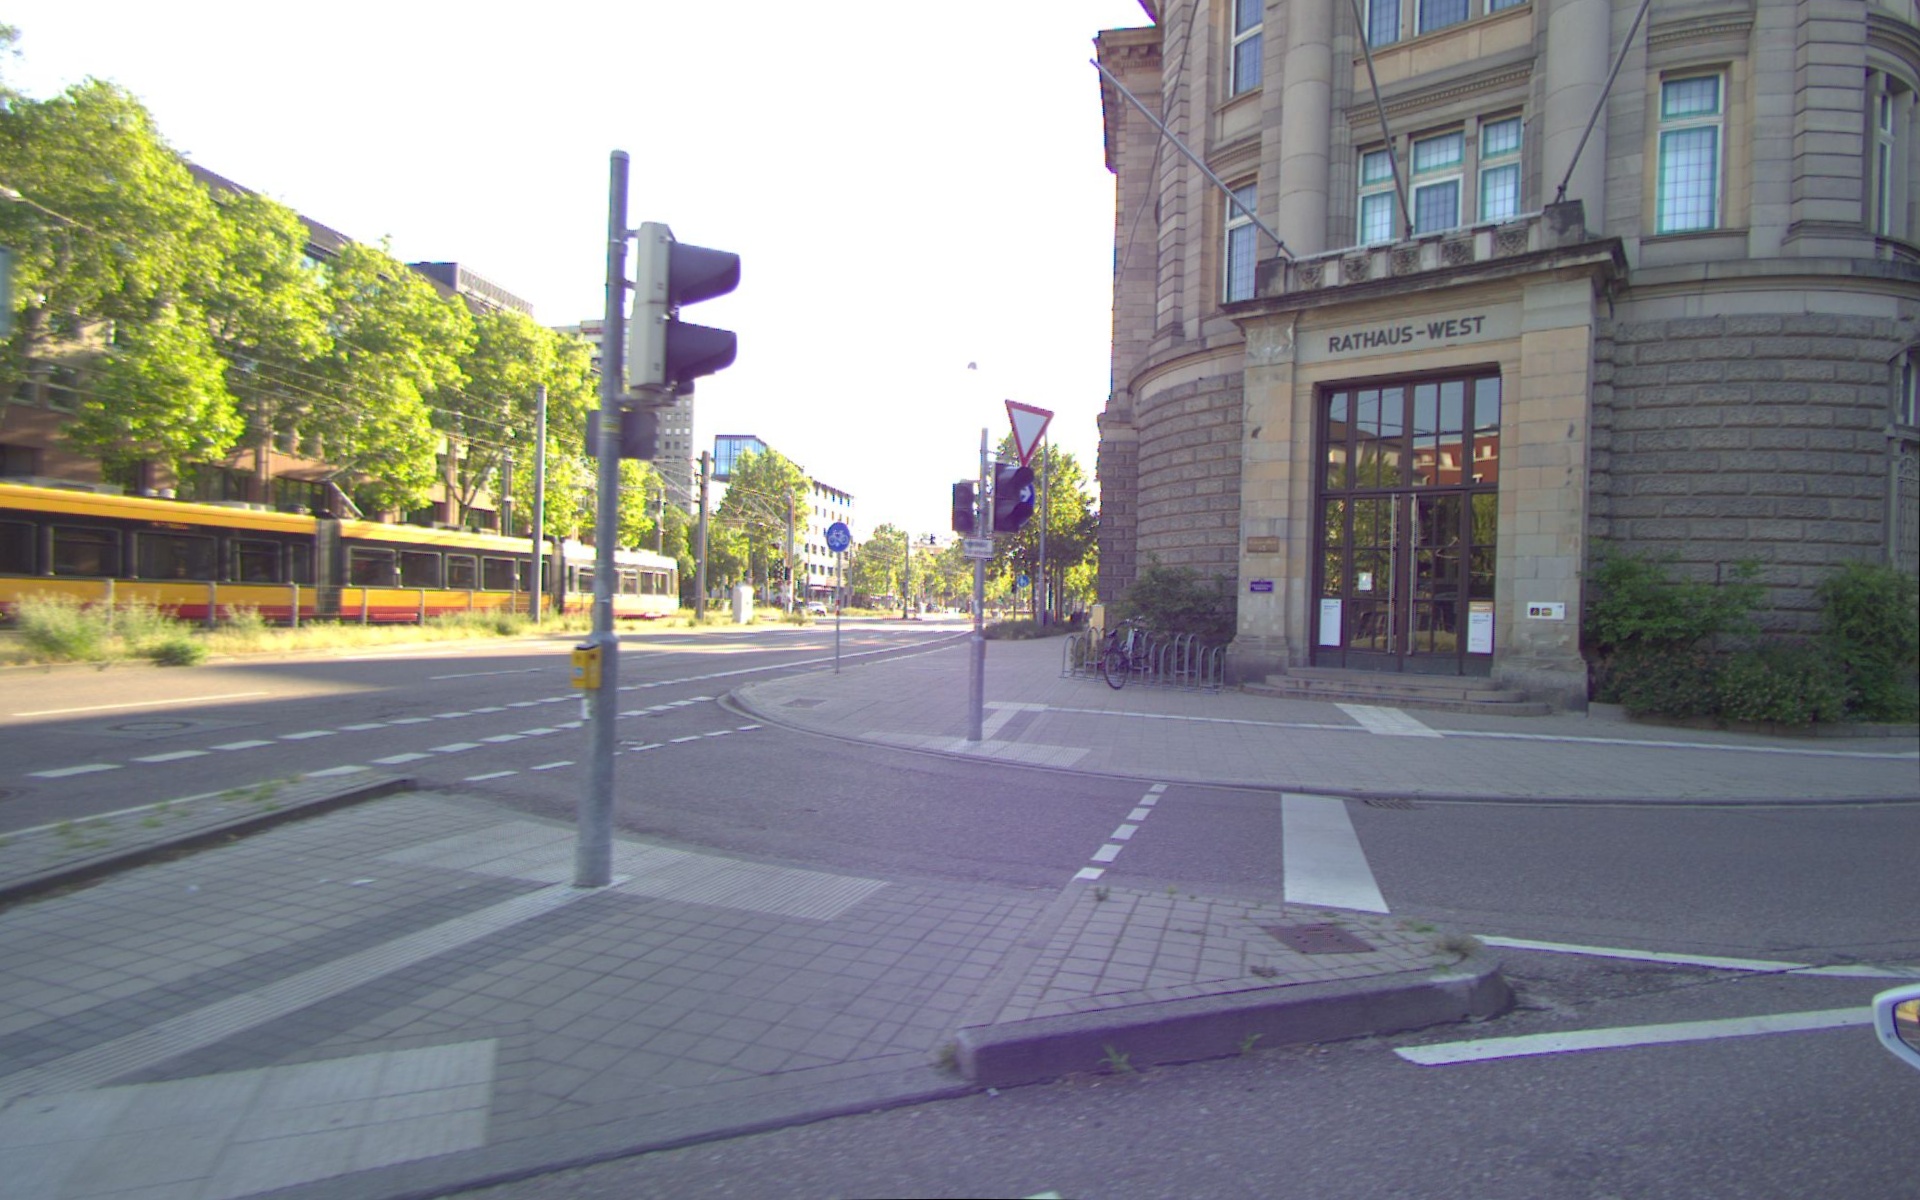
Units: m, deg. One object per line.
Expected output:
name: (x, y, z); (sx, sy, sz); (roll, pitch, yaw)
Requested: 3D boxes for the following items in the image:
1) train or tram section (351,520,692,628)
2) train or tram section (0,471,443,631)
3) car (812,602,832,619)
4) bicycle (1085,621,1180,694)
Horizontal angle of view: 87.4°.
train or tram section: (-17.572, -0.729, 43.999); (3.059, 3.606, 19.946); (1, -1, 10)
train or tram section: (-21.998, -1.070, 26.629); (3.060, 3.606, 17.481); (1, -1, 19)
car: (-13.678, 1.032, 99.611); (1.579, 1.549, 3.557); (2, -1, -1)
bicycle: (3.148, 1.002, 18.127); (0.855, 1.212, 2.233); (1, -1, 33)
